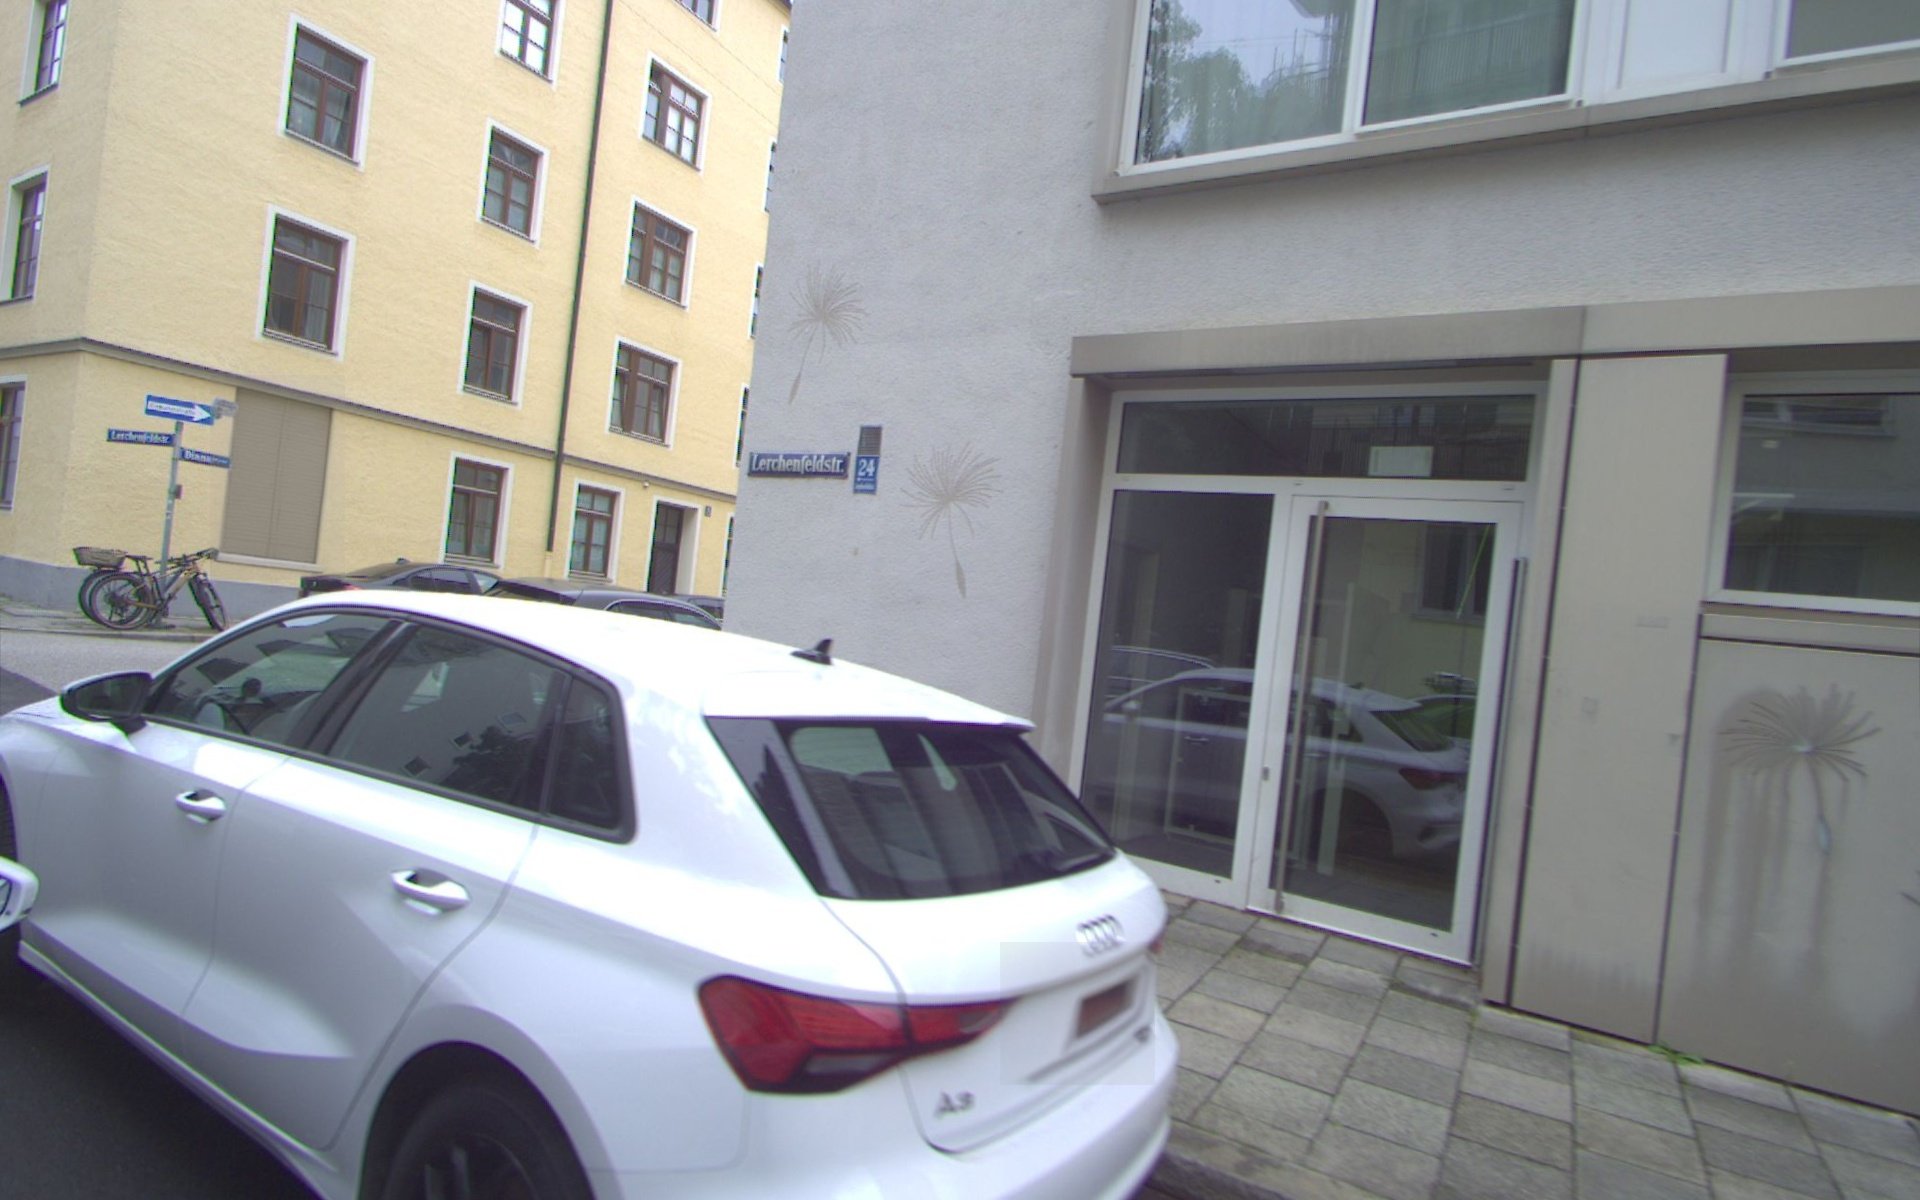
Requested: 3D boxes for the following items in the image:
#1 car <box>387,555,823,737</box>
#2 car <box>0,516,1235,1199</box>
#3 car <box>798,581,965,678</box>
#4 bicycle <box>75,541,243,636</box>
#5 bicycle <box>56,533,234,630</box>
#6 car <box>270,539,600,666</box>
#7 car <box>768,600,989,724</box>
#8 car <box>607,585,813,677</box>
[{"bbox_3d":[-3.653,0.541,11.179,1.966,1.416,4.212,8,0,29],"label":"car"},{"bbox_3d":[-1.385,0.669,3.115,3.884,1.424,1.824,6,-2,29],"label":"car"},{"bbox_3d":[-1.890,0.822,25.811,1.877,2.076,4.550,4,-3,30],"label":"car"},{"bbox_3d":[-11.007,-0.125,13.886,0.367,1.153,1.715,8,1,31],"label":"bicycle"},{"bbox_3d":[-11.426,-0.224,14.168,0.497,1.189,1.810,8,1,30],"label":"bicycle"},{"bbox_3d":[-7.960,0.126,15.686,1.683,1.511,4.220,5,-2,30],"label":"car"},{"bbox_3d":[-1.152,0.978,15.556,1.540,1.453,3.349,12,2,31],"label":"car"},{"bbox_3d":[-4.994,0.694,20.620,1.684,1.510,3.981,4,-3,32],"label":"car"}]
